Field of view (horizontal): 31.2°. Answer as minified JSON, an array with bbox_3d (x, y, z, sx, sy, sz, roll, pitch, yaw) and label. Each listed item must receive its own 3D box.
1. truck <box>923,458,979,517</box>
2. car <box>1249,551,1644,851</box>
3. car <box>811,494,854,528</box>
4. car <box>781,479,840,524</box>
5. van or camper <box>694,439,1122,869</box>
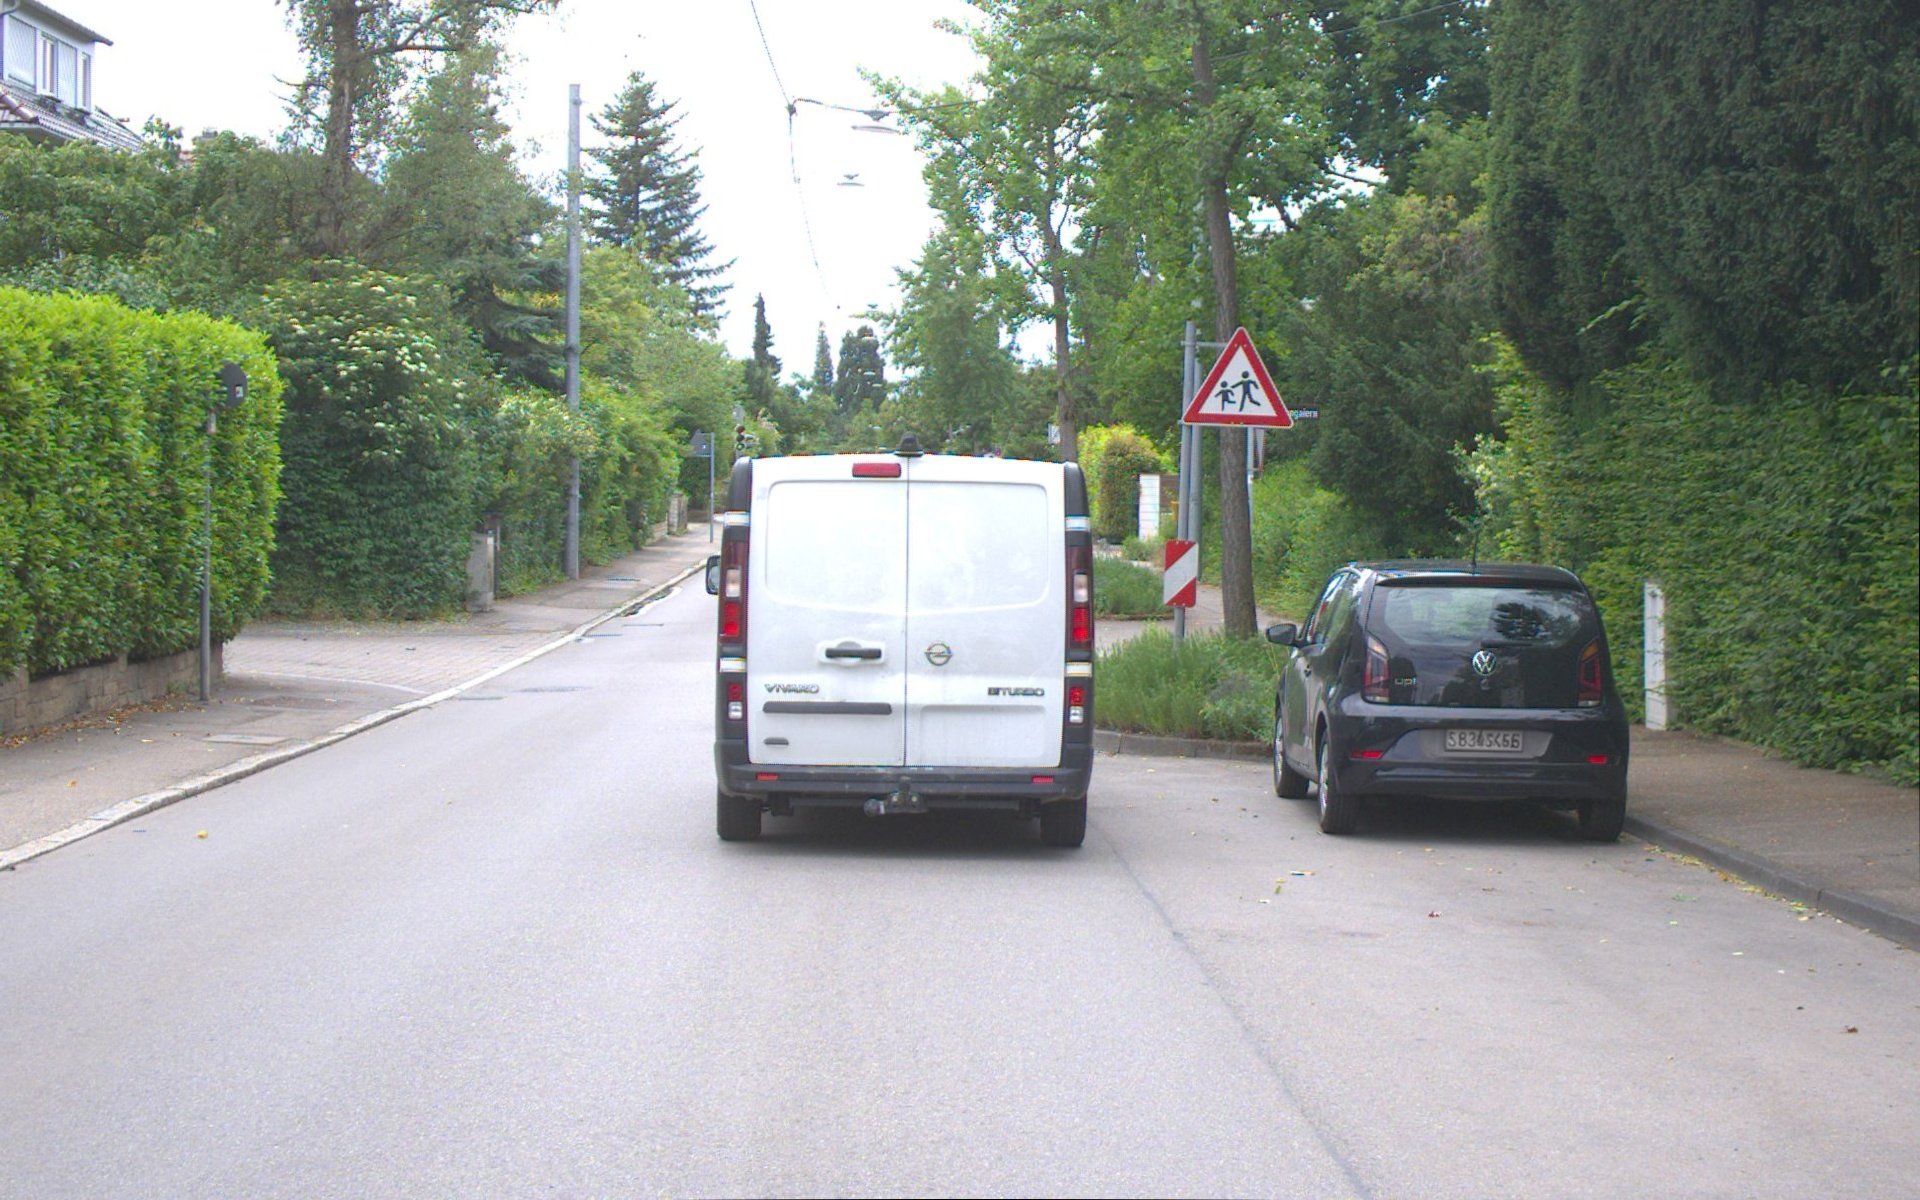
[{"bbox_3d":[-0.412,-4.917,149.523,2.187,2.463,7.432,2,2,-1],"label":"truck"},{"bbox_3d":[2.666,0.494,19.604,1.623,1.468,3.741,1,2,-1],"label":"car"},{"bbox_3d":[-5.519,-3.842,148.624,1.805,1.426,4.119,-1,1,-2],"label":"car"},{"bbox_3d":[-5.171,-3.436,119.319,1.805,1.426,4.301,-2,2,0],"label":"car"},{"bbox_3d":[-0.318,0.205,18.359,1.939,1.947,4.766,1,1,-2],"label":"van or camper"}]
